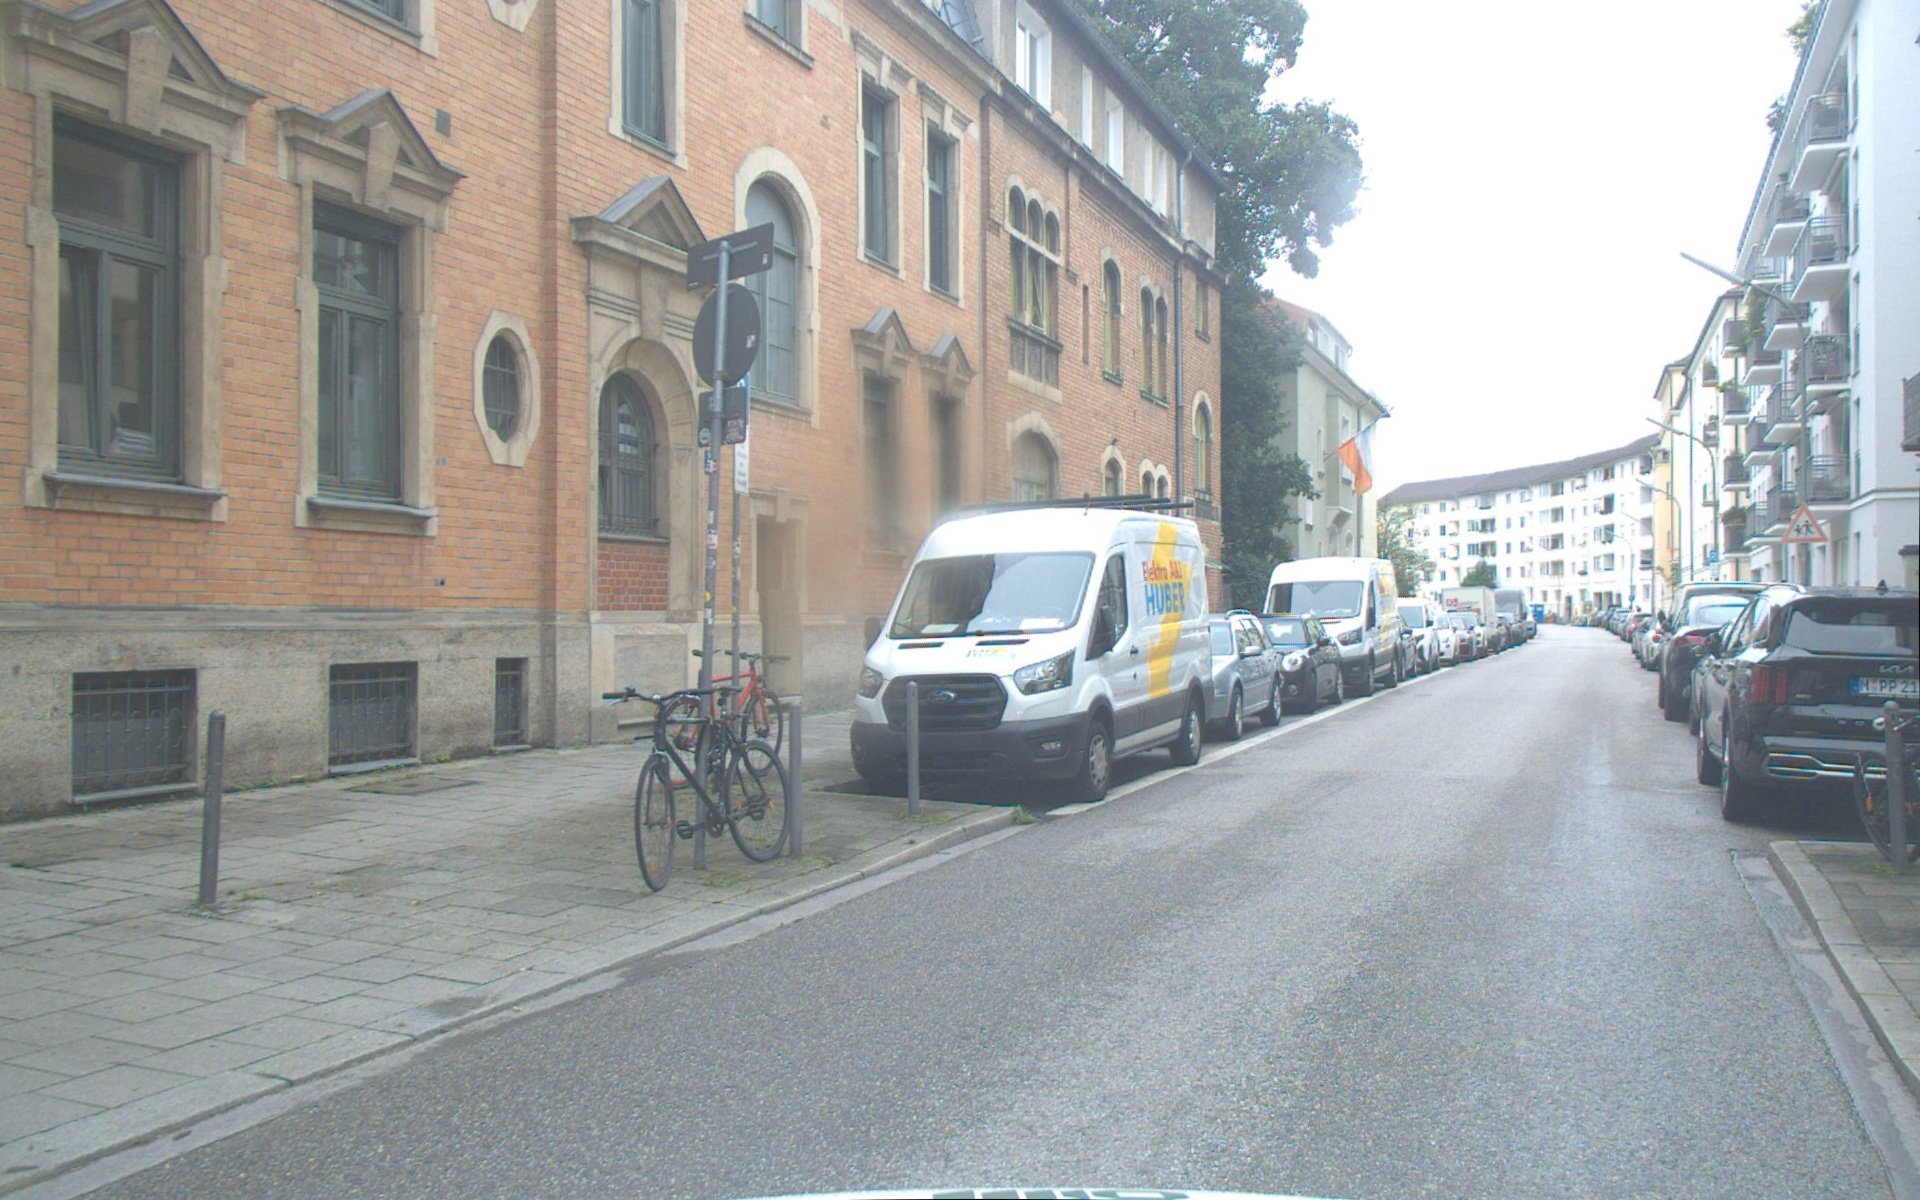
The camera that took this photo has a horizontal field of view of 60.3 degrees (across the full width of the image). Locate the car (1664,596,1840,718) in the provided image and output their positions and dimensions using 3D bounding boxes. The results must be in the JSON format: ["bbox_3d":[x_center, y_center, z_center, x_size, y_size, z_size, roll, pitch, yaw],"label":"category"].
[{"bbox_3d":[11.269,0.766,23.825,1.821,1.578,4.754,-2,-1,20],"label":"car"}]

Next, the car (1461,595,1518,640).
[{"bbox_3d":[22.320,0.710,69.638,1.953,1.793,4.380,-2,-1,22],"label":"car"}]

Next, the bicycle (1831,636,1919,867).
[{"bbox_3d":[5.258,0.791,8.688,0.567,1.174,1.964,-1,-1,9],"label":"bicycle"}]

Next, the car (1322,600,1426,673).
[{"bbox_3d":[8.986,0.756,35.713,1.708,1.470,4.000,-2,-1,21],"label":"car"}]

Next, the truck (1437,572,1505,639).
[{"bbox_3d":[19.305,0.223,62.351,1.953,2.359,5.409,-2,-1,22],"label":"truck"}]

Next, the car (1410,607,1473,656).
[{"bbox_3d":[14.791,0.941,50.712,1.714,1.392,4.002,-1,-1,17],"label":"car"}]

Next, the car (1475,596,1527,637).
[{"bbox_3d":[24.796,0.732,75.744,1.953,1.793,4.380,-2,-1,22],"label":"car"}]

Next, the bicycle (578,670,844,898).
[{"bbox_3d":[-1.327,0.959,9.168,0.568,1.072,1.761,-2,-1,25],"label":"bicycle"}]

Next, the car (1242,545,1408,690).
[{"bbox_3d":[6.803,0.319,30.340,2.093,2.390,5.369,-2,-1,22],"label":"car"}]

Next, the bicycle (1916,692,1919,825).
[{"bbox_3d":[4.339,0.850,5.612,1.721,1.084,0.776,-1,-1,-1],"label":"bicycle"}]

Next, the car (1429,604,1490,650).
[{"bbox_3d":[16.979,0.892,56.084,1.758,1.494,3.868,-2,-1,20],"label":"car"}]

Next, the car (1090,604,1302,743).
[{"bbox_3d":[3.015,0.841,20.444,1.654,1.480,3.997,-4,-1,21],"label":"car"}]

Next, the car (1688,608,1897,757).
[{"bbox_3d":[9.485,0.849,19.147,1.692,1.485,4.417,0,0,21],"label":"car"}]

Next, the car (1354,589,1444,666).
[{"bbox_3d":[10.678,0.651,40.046,1.783,1.741,4.001,-2,-1,19],"label":"car"}]

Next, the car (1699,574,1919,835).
[{"bbox_3d":[6.862,0.681,12.754,1.812,1.667,4.550,-2,-1,21],"label":"car"}]

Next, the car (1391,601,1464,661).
[{"bbox_3d":[13.110,0.850,46.267,1.807,1.567,4.002,-1,-1,17],"label":"car"}]

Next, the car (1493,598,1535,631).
[{"bbox_3d":[31.388,0.813,93.603,1.953,1.793,4.380,-2,-1,22],"label":"car"}]

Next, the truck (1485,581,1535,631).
[{"bbox_3d":[27.242,0.294,81.863,1.953,2.359,5.409,-2,-1,22],"label":"truck"}]

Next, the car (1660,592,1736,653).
[{"bbox_3d":[18.974,0.569,42.638,1.615,1.459,3.999,-2,-1,22],"label":"car"}]

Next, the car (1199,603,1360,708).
[{"bbox_3d":[4.962,0.804,25.332,1.663,1.456,3.829,-2,-1,22],"label":"car"}]

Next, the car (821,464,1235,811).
[{"bbox_3d":[0.885,0.323,14.908,1.951,2.511,5.471,-3,-1,21],"label":"car"}]

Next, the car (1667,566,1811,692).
[{"bbox_3d":[13.543,0.486,28.992,1.831,2.002,4.817,-2,-1,20],"label":"car"}]

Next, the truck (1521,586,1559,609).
[{"bbox_3d":[60.309,-0.234,171.983,2.566,2.340,5.444,0,0,7],"label":"truck"}]

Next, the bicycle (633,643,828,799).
[{"bbox_3d":[-1.739,0.896,12.862,0.568,1.072,1.893,0,0,25],"label":"bicycle"}]

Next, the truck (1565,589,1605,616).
[{"bbox_3d":[56.768,0.179,150.253,2.178,2.340,5.294,-1,0,7],"label":"truck"}]
